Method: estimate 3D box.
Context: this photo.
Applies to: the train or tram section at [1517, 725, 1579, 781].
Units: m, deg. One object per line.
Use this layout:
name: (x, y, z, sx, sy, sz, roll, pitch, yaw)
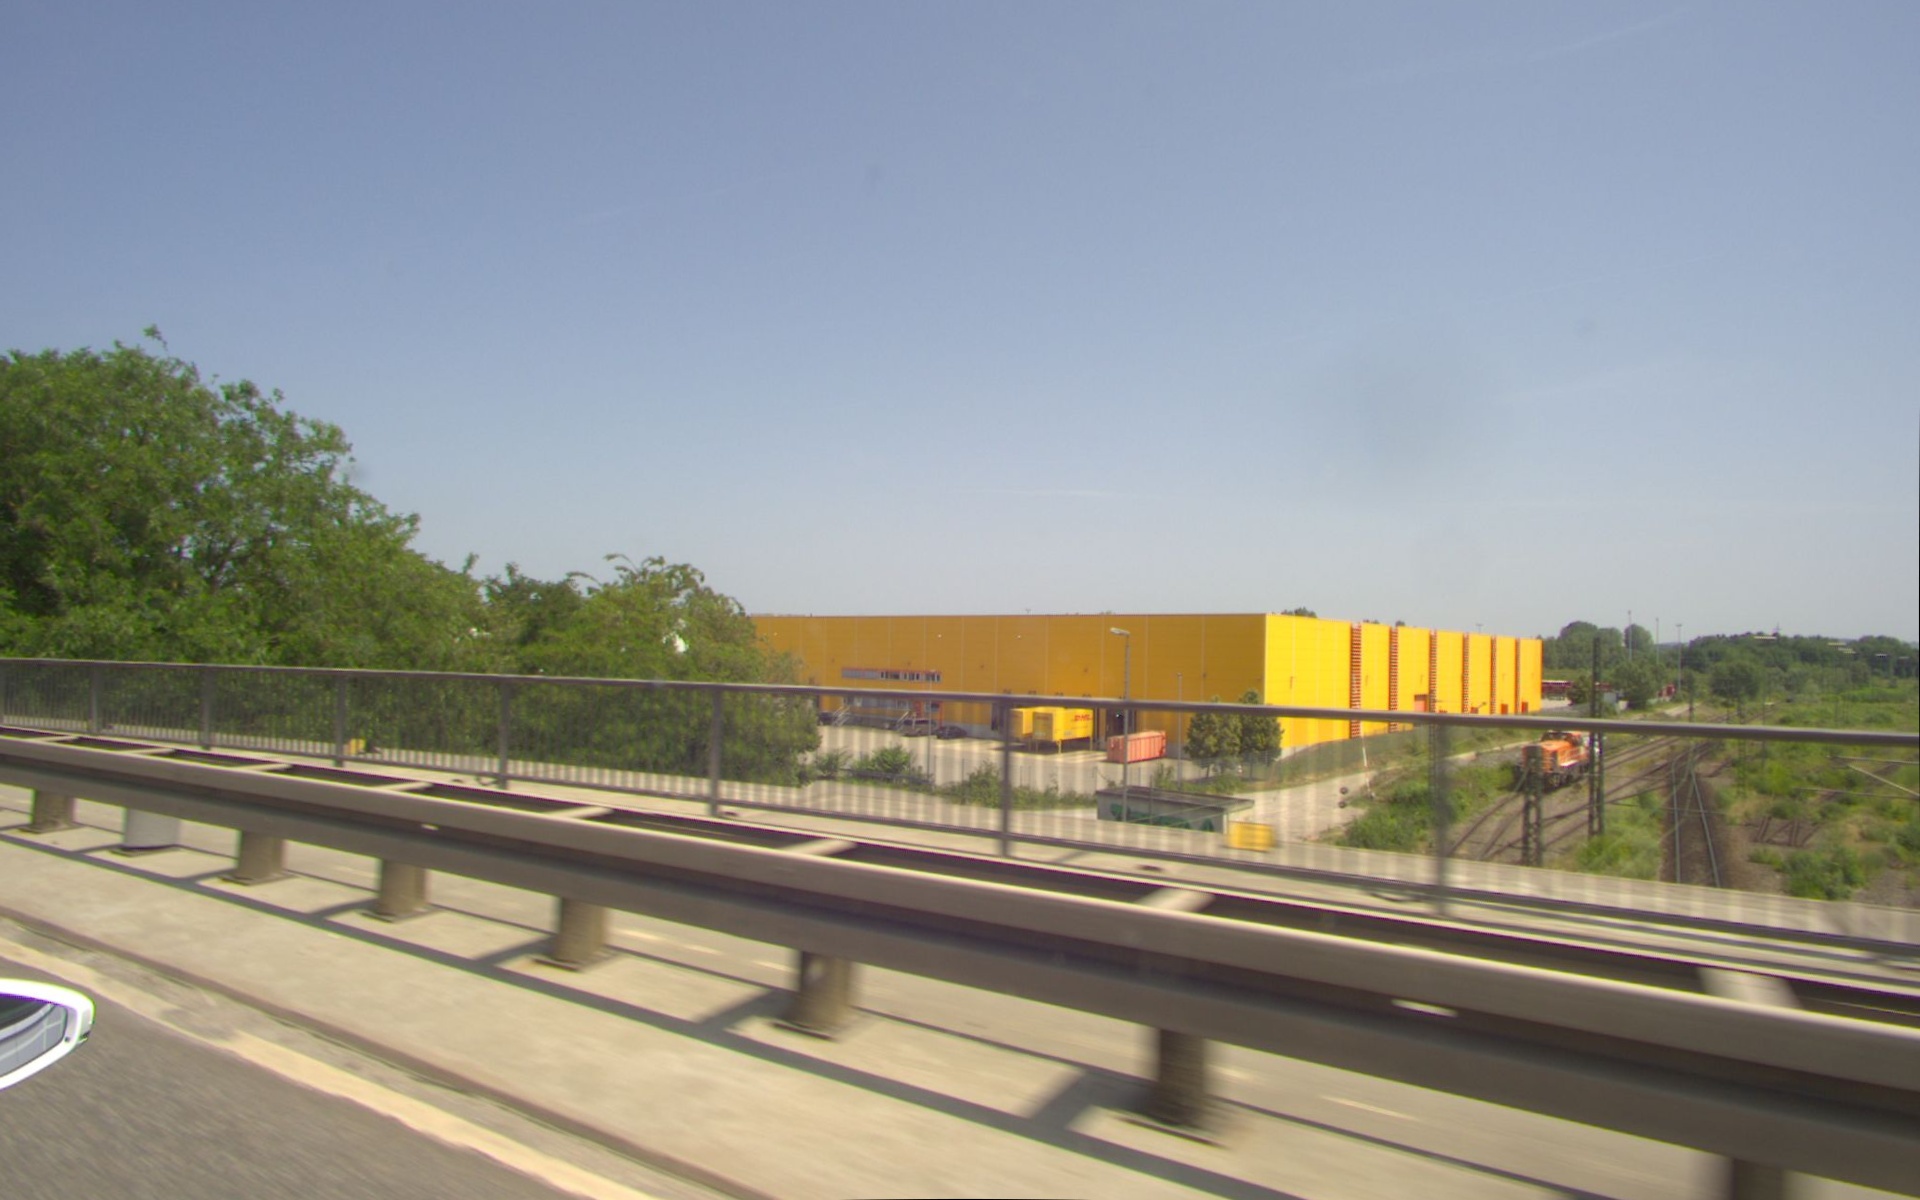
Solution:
train or tram section: (48.032, 12.315, 81.524, 2.212, 3.734, 13.916, 0, -4, 39)
